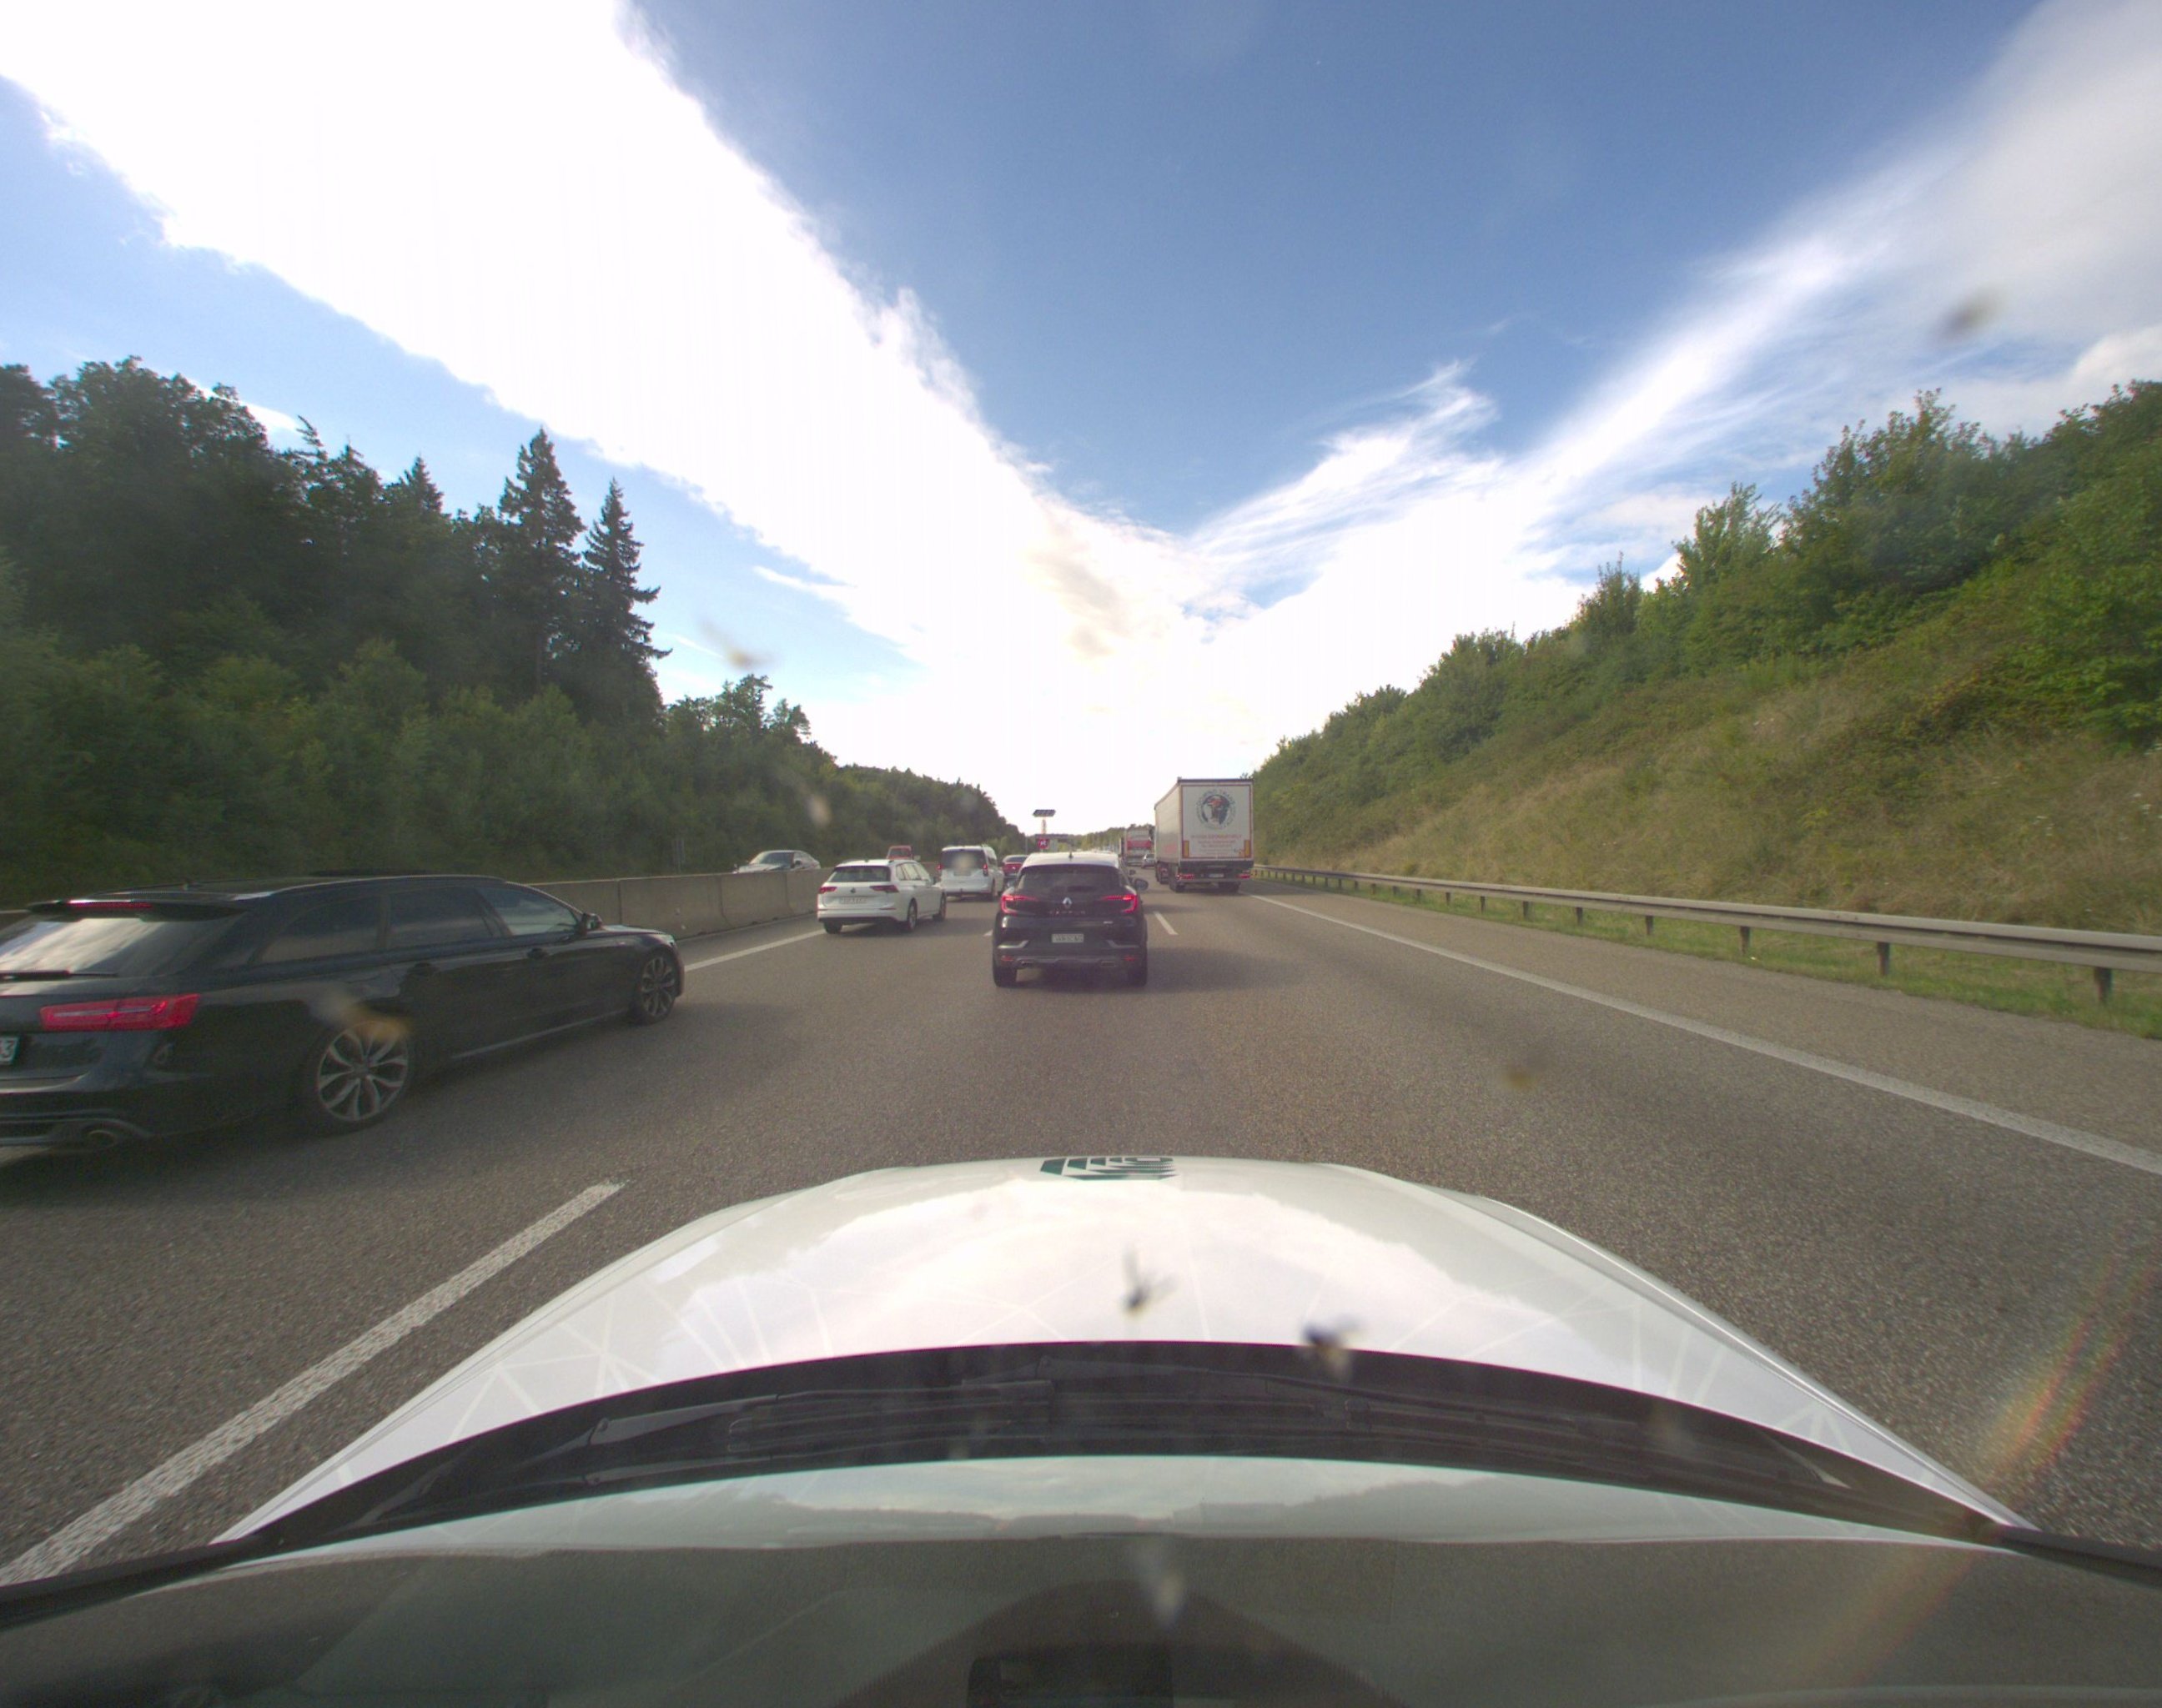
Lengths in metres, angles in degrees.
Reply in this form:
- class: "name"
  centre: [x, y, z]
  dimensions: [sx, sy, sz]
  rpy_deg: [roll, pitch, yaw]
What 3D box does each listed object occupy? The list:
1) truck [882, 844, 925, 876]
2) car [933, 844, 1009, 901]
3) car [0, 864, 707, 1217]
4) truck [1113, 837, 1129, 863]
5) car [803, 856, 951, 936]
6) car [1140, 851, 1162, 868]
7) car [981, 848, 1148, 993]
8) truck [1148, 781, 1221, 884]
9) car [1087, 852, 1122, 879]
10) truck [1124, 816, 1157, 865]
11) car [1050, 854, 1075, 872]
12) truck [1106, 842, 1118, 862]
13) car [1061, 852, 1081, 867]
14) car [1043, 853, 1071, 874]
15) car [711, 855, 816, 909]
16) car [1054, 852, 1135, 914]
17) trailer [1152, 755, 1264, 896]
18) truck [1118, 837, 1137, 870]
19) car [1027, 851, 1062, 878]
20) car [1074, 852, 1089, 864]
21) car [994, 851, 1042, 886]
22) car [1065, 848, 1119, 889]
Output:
- class: "truck"
  centre: [-16.589, 0.496, 76.469]
  dimensions: [2.413, 2.855, 6.433]
  rpy_deg: [0, 0, 2]
- class: "car"
  centre: [-3.665, 0.588, 27.897]
  dimensions: [1.905, 1.789, 4.418]
  rpy_deg: [0, 0, 1]
- class: "car"
  centre: [-4.828, 0.842, 5.924]
  dimensions: [1.835, 1.456, 4.751]
  rpy_deg: [0, 0, 3]
- class: "truck"
  centre: [8.978, -0.826, 181.862]
  dimensions: [3.152, 5.505, 12.752]
  rpy_deg: [0, 0, 4]
- class: "car"
  centre: [-4.119, 0.784, 17.188]
  dimensions: [1.797, 1.461, 4.312]
  rpy_deg: [-1, 0, 3]
- class: "car"
  centre: [6.449, 0.472, 75.145]
  dimensions: [1.798, 1.533, 3.926]
  rpy_deg: [0, 0, 1]
- class: "car"
  centre: [-0.021, 0.734, 10.839]
  dimensions: [1.796, 1.552, 4.005]
  rpy_deg: [-1, 0, 4]
- class: "truck"
  centre: [5.015, -0.983, 40.365]
  dimensions: [2.986, 4.667, 5.942]
  rpy_deg: [-1, 0, 2]
- class: "car"
  centre: [1.417, 0.666, 48.290]
  dimensions: [1.985, 1.514, 4.003]
  rpy_deg: [0, 0, 3]
- class: "truck"
  centre: [6.540, -1.393, 90.935]
  dimensions: [3.351, 5.044, 12.747]
  rpy_deg: [0, 0, 3]
- class: "car"
  centre: [-1.684, 0.821, 73.997]
  dimensions: [1.985, 1.613, 4.003]
  rpy_deg: [0, 0, 3]
- class: "truck"
  centre: [8.261, -0.550, 215.338]
  dimensions: [3.153, 5.159, 12.747]
  rpy_deg: [0, 0, 3]
- class: "car"
  centre: [-1.048, 0.579, 88.575]
  dimensions: [1.985, 1.613, 4.003]
  rpy_deg: [-1, 0, 3]
- class: "car"
  centre: [-1.952, 0.770, 66.463]
  dimensions: [1.985, 1.613, 4.003]
  rpy_deg: [0, 0, 3]
- class: "car"
  centre: [-11.445, 0.940, 29.715]
  dimensions: [1.845, 1.810, 4.627]
  rpy_deg: [0, 0, 2]
- class: "car"
  centre: [0.422, 0.735, 22.071]
  dimensions: [1.985, 1.514, 4.003]
  rpy_deg: [0, 0, 3]
- class: "trailer"
  centre: [4.790, -0.960, 33.772]
  dimensions: [2.990, 4.661, 13.296]
  rpy_deg: [-1, 0, 2]
- class: "truck"
  centre: [8.039, -0.058, 140.419]
  dimensions: [3.153, 5.505, 12.747]
  rpy_deg: [0, 0, 3]
- class: "car"
  centre: [-2.384, 0.686, 54.072]
  dimensions: [1.985, 1.722, 4.003]
  rpy_deg: [0, 0, 3]
- class: "car"
  centre: [0.079, 0.599, 113.460]
  dimensions: [1.985, 1.613, 4.003]
  rpy_deg: [-1, 0, 3]
- class: "car"
  centre: [-3.034, 0.703, 39.959]
  dimensions: [1.848, 1.641, 3.929]
  rpy_deg: [0, 0, 3]
- class: "car"
  centre: [0.506, 0.558, 32.070]
  dimensions: [1.985, 1.514, 4.003]
  rpy_deg: [0, 0, 3]
